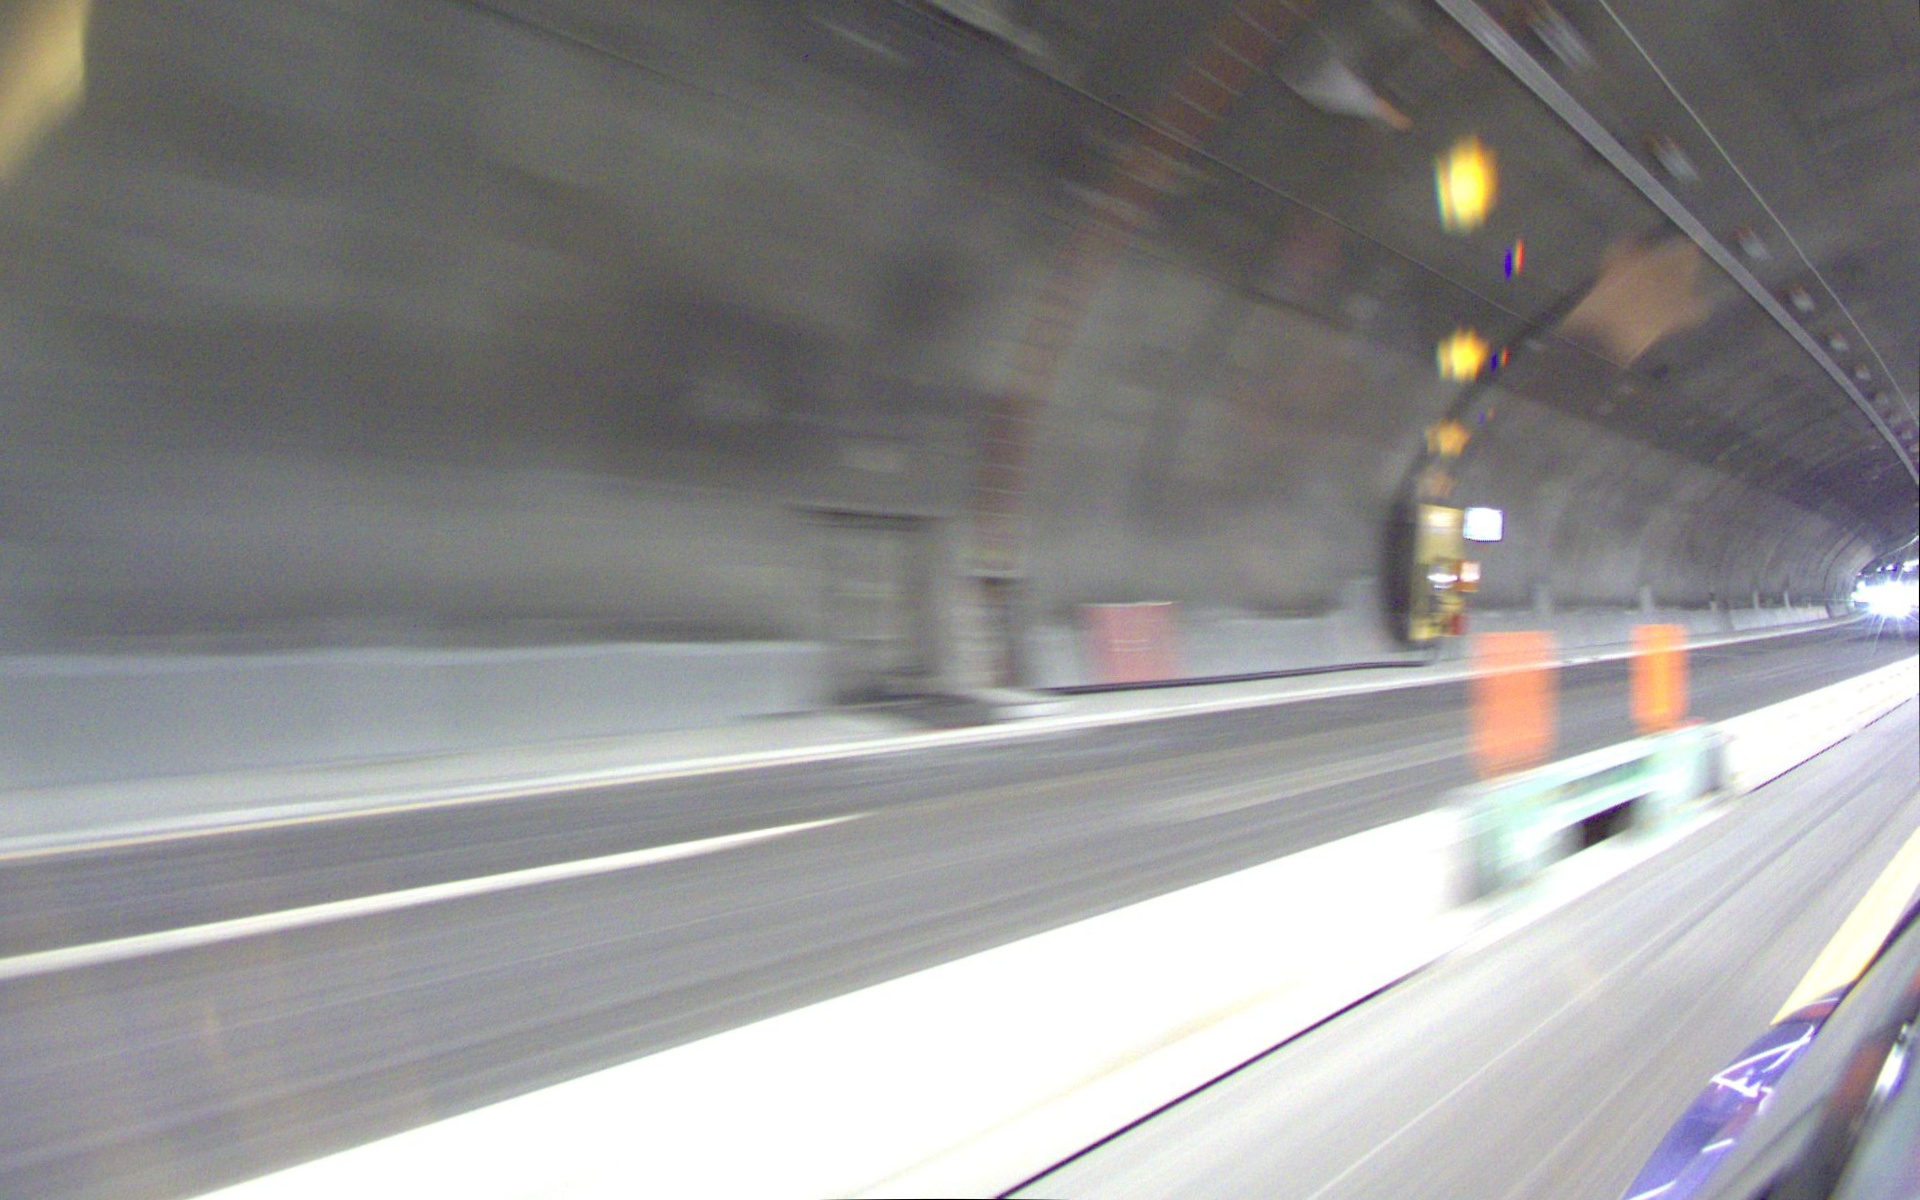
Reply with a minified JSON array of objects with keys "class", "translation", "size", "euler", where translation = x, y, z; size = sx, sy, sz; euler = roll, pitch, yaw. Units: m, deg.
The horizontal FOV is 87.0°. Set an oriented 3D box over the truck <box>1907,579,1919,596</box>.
[{"class":"truck","translation":[163.617,-2.113,172.775],"size":[2.600,2.773,6.304],"euler":[1,1,40]}]
